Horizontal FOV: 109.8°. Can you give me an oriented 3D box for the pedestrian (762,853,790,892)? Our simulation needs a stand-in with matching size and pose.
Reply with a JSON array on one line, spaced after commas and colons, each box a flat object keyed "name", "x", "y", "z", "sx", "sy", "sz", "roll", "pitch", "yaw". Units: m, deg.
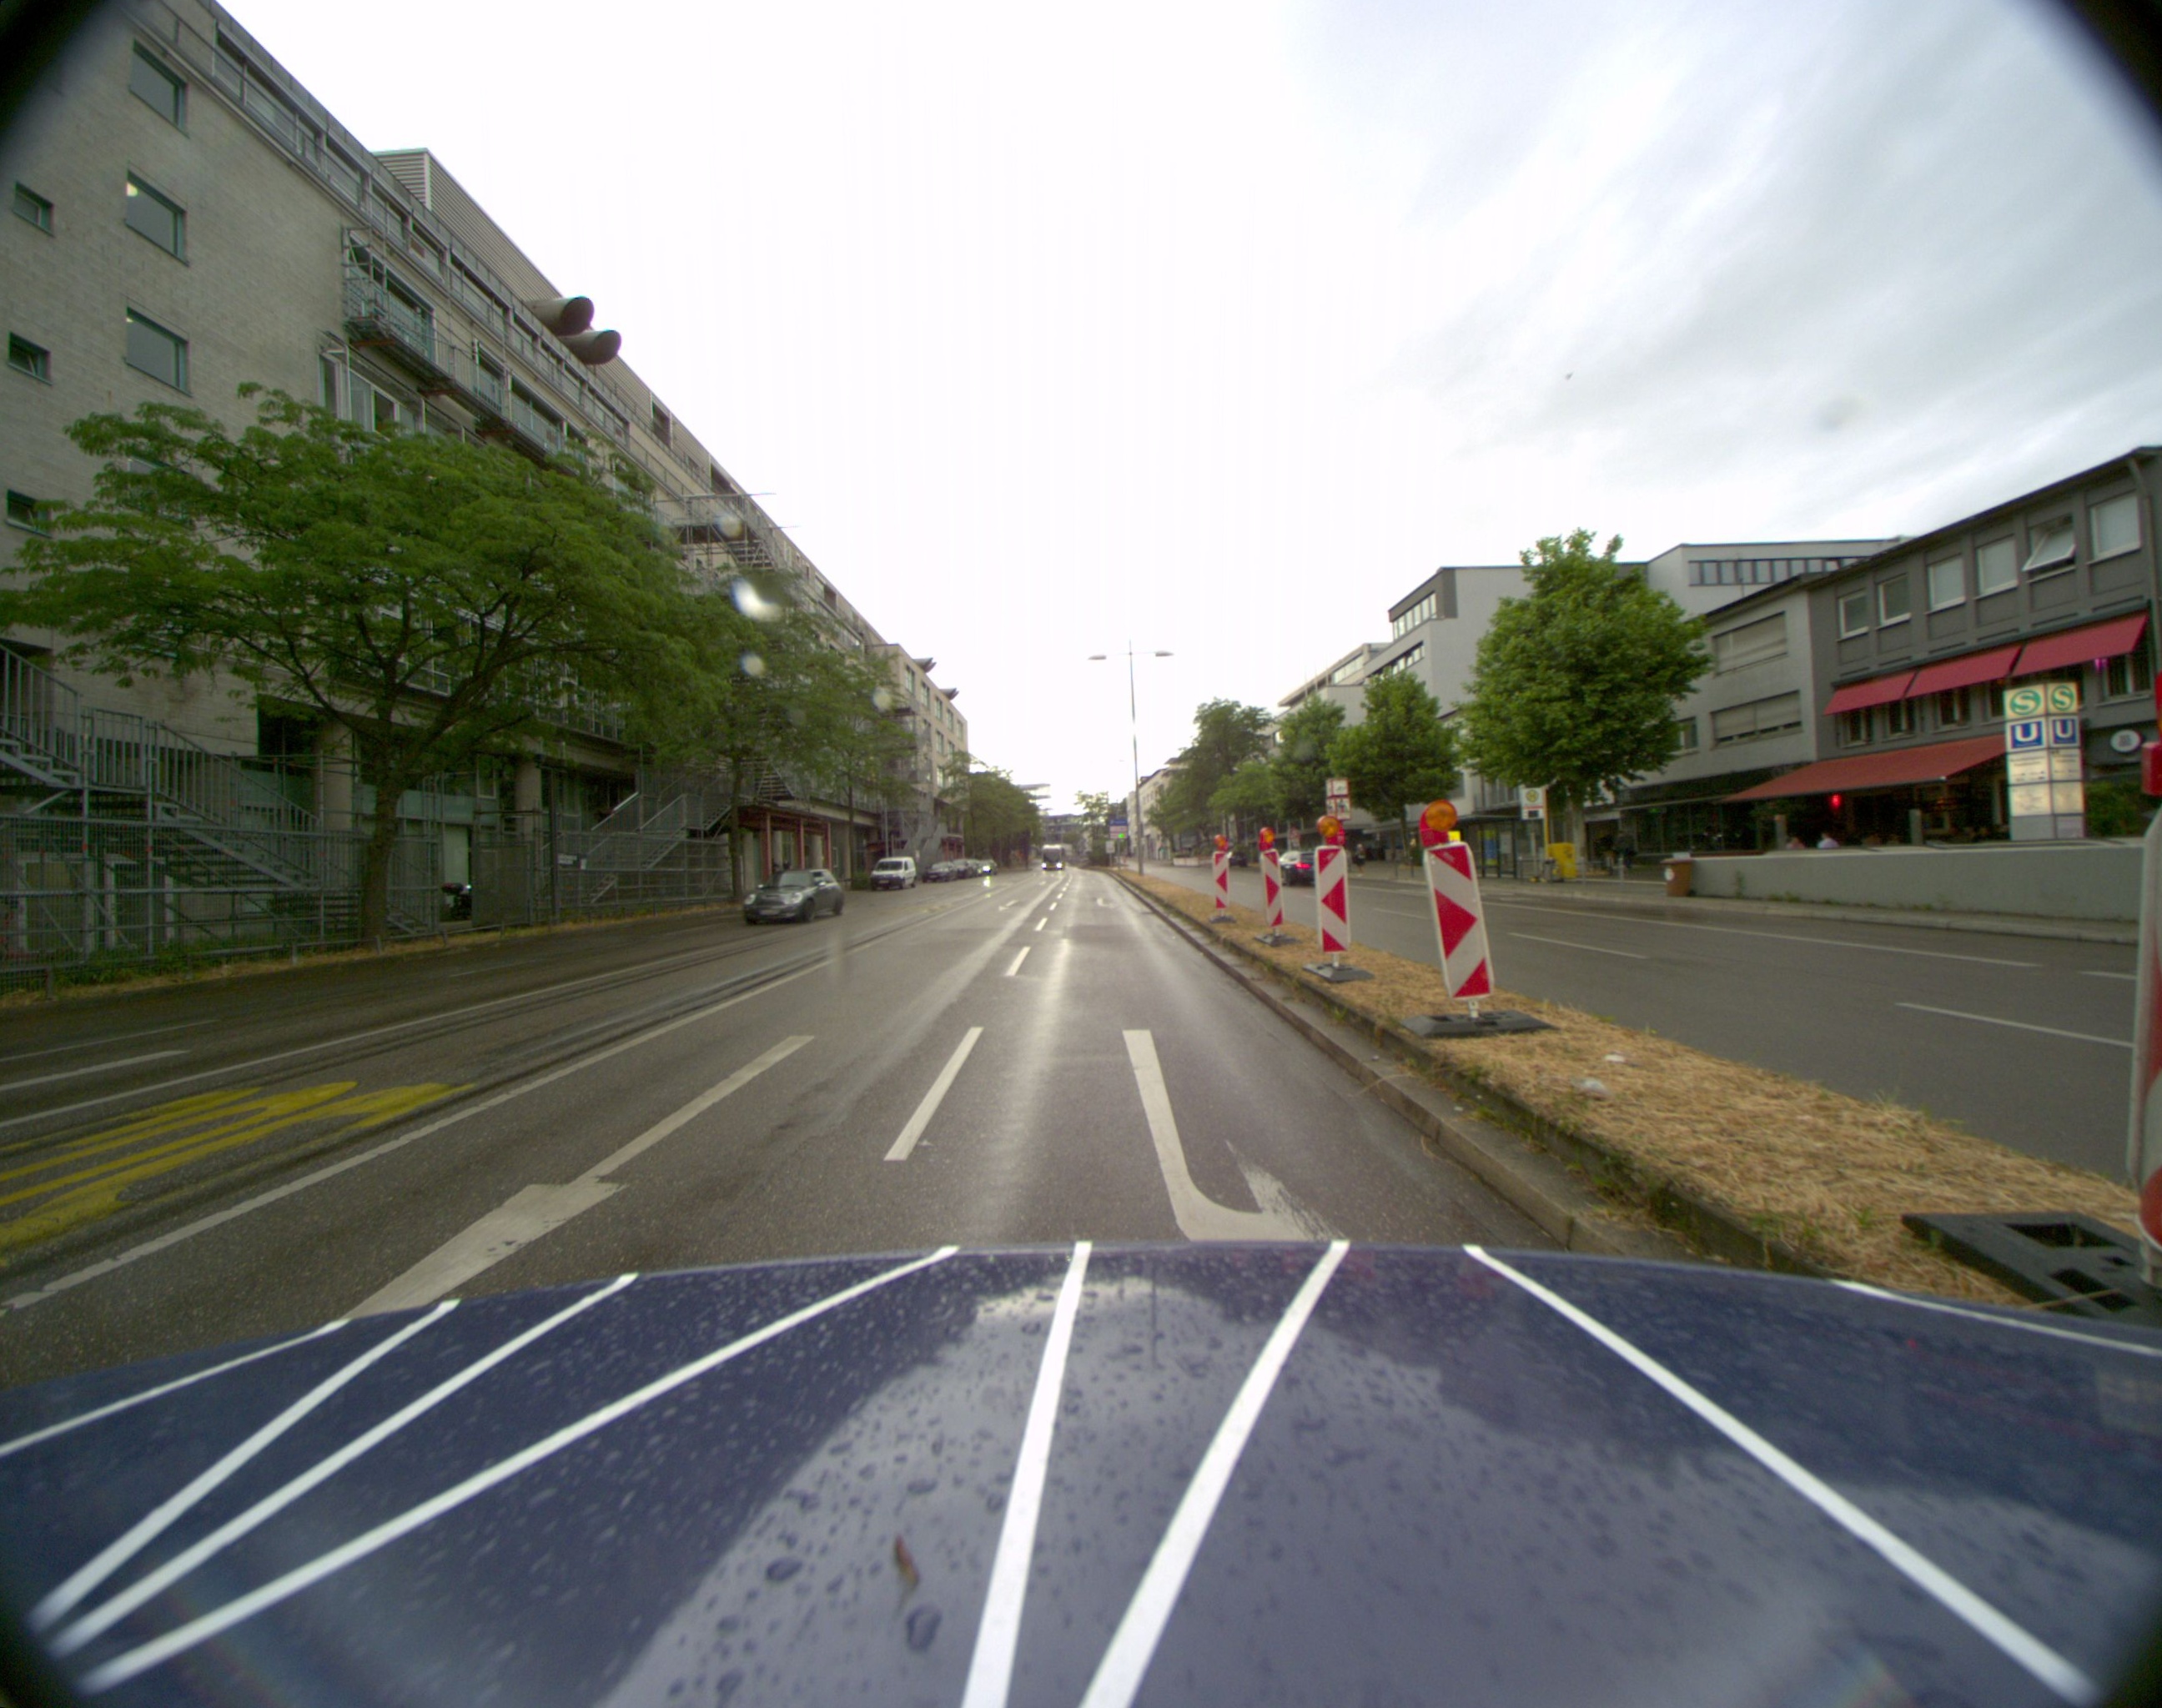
[{"name": "pedestrian", "x": -16.363, "y": 0.968, "z": 40.761, "sx": 1.009, "sy": 2.002, "sz": 1.039, "roll": -2, "pitch": 1, "yaw": 1}]

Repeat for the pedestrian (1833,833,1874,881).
[{"name": "pedestrian", "x": 24.903, "y": 0.097, "z": 24.489, "sx": 0.669, "sy": 1.520, "sz": 0.611, "roll": -2, "pitch": 1, "yaw": 4}]

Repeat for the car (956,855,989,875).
[{"name": "car", "x": -9.466, "y": 0.934, "z": 66.688, "sx": 2.147, "sy": 1.552, "sz": 4.816, "roll": -2, "pitch": 1, "yaw": 1}]

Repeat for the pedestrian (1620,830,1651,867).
[{"name": "pedestrian", "x": 23.756, "y": -0.234, "z": 32.552, "sx": 0.774, "sy": 1.556, "sz": 0.767, "roll": -2, "pitch": 1, "yaw": 8}]

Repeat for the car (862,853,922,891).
[{"name": "car", "x": -10.528, "y": 0.940, "z": 42.655, "sx": 2.213, "sy": 1.895, "sz": 4.329, "roll": -2, "pitch": 1, "yaw": 0}]

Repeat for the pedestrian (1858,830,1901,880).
[{"name": "pedestrian", "x": 24.991, "y": 0.032, "z": 23.791, "sx": 0.669, "sy": 1.520, "sz": 0.611, "roll": -2, "pitch": 1, "yaw": 3}]

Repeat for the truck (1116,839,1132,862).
[{"name": "truck", "x": 7.102, "y": -0.565, "z": 127.114, "sx": 1.999, "sy": 3.557, "sz": 7.572, "roll": -2, "pitch": 0, "yaw": -2}]

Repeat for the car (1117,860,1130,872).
[{"name": "car", "x": 7.628, "y": 2.079, "z": 136.413, "sx": 1.999, "sy": 2.002, "sz": 3.999, "roll": -2, "pitch": 1, "yaw": -2}]

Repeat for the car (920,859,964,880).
[{"name": "car", "x": -9.893, "y": 1.076, "z": 54.421, "sx": 2.147, "sy": 1.329, "sz": 4.816, "roll": -2, "pitch": 1, "yaw": 1}]

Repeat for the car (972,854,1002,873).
[{"name": "car", "x": -8.896, "y": 0.893, "z": 72.425, "sx": 2.147, "sy": 1.637, "sz": 4.816, "roll": -2, "pitch": 1, "yaw": 1}]

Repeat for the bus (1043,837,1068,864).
[{"name": "bus", "x": -3.403, "y": -0.519, "z": 103.424, "sx": 2.890, "sy": 3.430, "sz": 9.756, "roll": -2, "pitch": 1, "yaw": 1}]

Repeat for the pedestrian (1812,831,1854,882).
[{"name": "pedestrian", "x": 23.217, "y": 0.077, "z": 23.465, "sx": 0.669, "sy": 1.520, "sz": 0.611, "roll": -2, "pitch": 1, "yaw": 3}]

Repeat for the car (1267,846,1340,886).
[{"name": "car", "x": 9.466, "y": 0.468, "z": 32.734, "sx": 1.692, "sy": 1.545, "sz": 4.419, "roll": -2, "pitch": 1, "yaw": -2}]

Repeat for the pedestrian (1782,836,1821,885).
[{"name": "pedestrian", "x": 23.341, "y": 0.209, "z": 24.633, "sx": 0.669, "sy": 1.520, "sz": 0.611, "roll": -2, "pitch": 1, "yaw": 3}]

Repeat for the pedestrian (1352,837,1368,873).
[{"name": "pedestrian", "x": 14.417, "y": 0.059, "z": 39.283, "sx": 0.575, "sy": 1.815, "sz": 0.580, "roll": -2, "pitch": 1, "yaw": 7}]

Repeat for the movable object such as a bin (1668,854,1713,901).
[{"name": "movable object such as a bin", "x": 14.561, "y": 0.549, "z": 18.168, "sx": 0.507, "sy": 1.094, "sz": 0.660, "roll": -2, "pitch": 1, "yaw": -2}]

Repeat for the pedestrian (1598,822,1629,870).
[{"name": "pedestrian", "x": 22.858, "y": -0.344, "z": 32.629, "sx": 0.774, "sy": 2.002, "sz": 0.767, "roll": -2, "pitch": 1, "yaw": 8}]

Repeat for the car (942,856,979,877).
[{"name": "car", "x": -9.626, "y": 0.975, "z": 61.219, "sx": 2.147, "sy": 1.486, "sz": 4.816, "roll": -2, "pitch": 1, "yaw": 1}]

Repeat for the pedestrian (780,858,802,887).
[{"name": "pedestrian", "x": -18.332, "y": 1.160, "z": 48.043, "sx": 1.010, "sy": 1.789, "sz": 0.846, "roll": -2, "pitch": 1, "yaw": -3}]

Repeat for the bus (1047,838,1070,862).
[{"name": "bus", "x": -3.251, "y": -0.633, "z": 113.145, "sx": 2.890, "sy": 3.420, "sz": 9.709, "roll": -2, "pitch": 1, "yaw": 1}]

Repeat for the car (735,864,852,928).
[{"name": "car", "x": -7.851, "y": 1.089, "z": 21.098, "sx": 1.743, "sy": 1.447, "sz": 3.720, "roll": -2, "pitch": 1, "yaw": 1}]
